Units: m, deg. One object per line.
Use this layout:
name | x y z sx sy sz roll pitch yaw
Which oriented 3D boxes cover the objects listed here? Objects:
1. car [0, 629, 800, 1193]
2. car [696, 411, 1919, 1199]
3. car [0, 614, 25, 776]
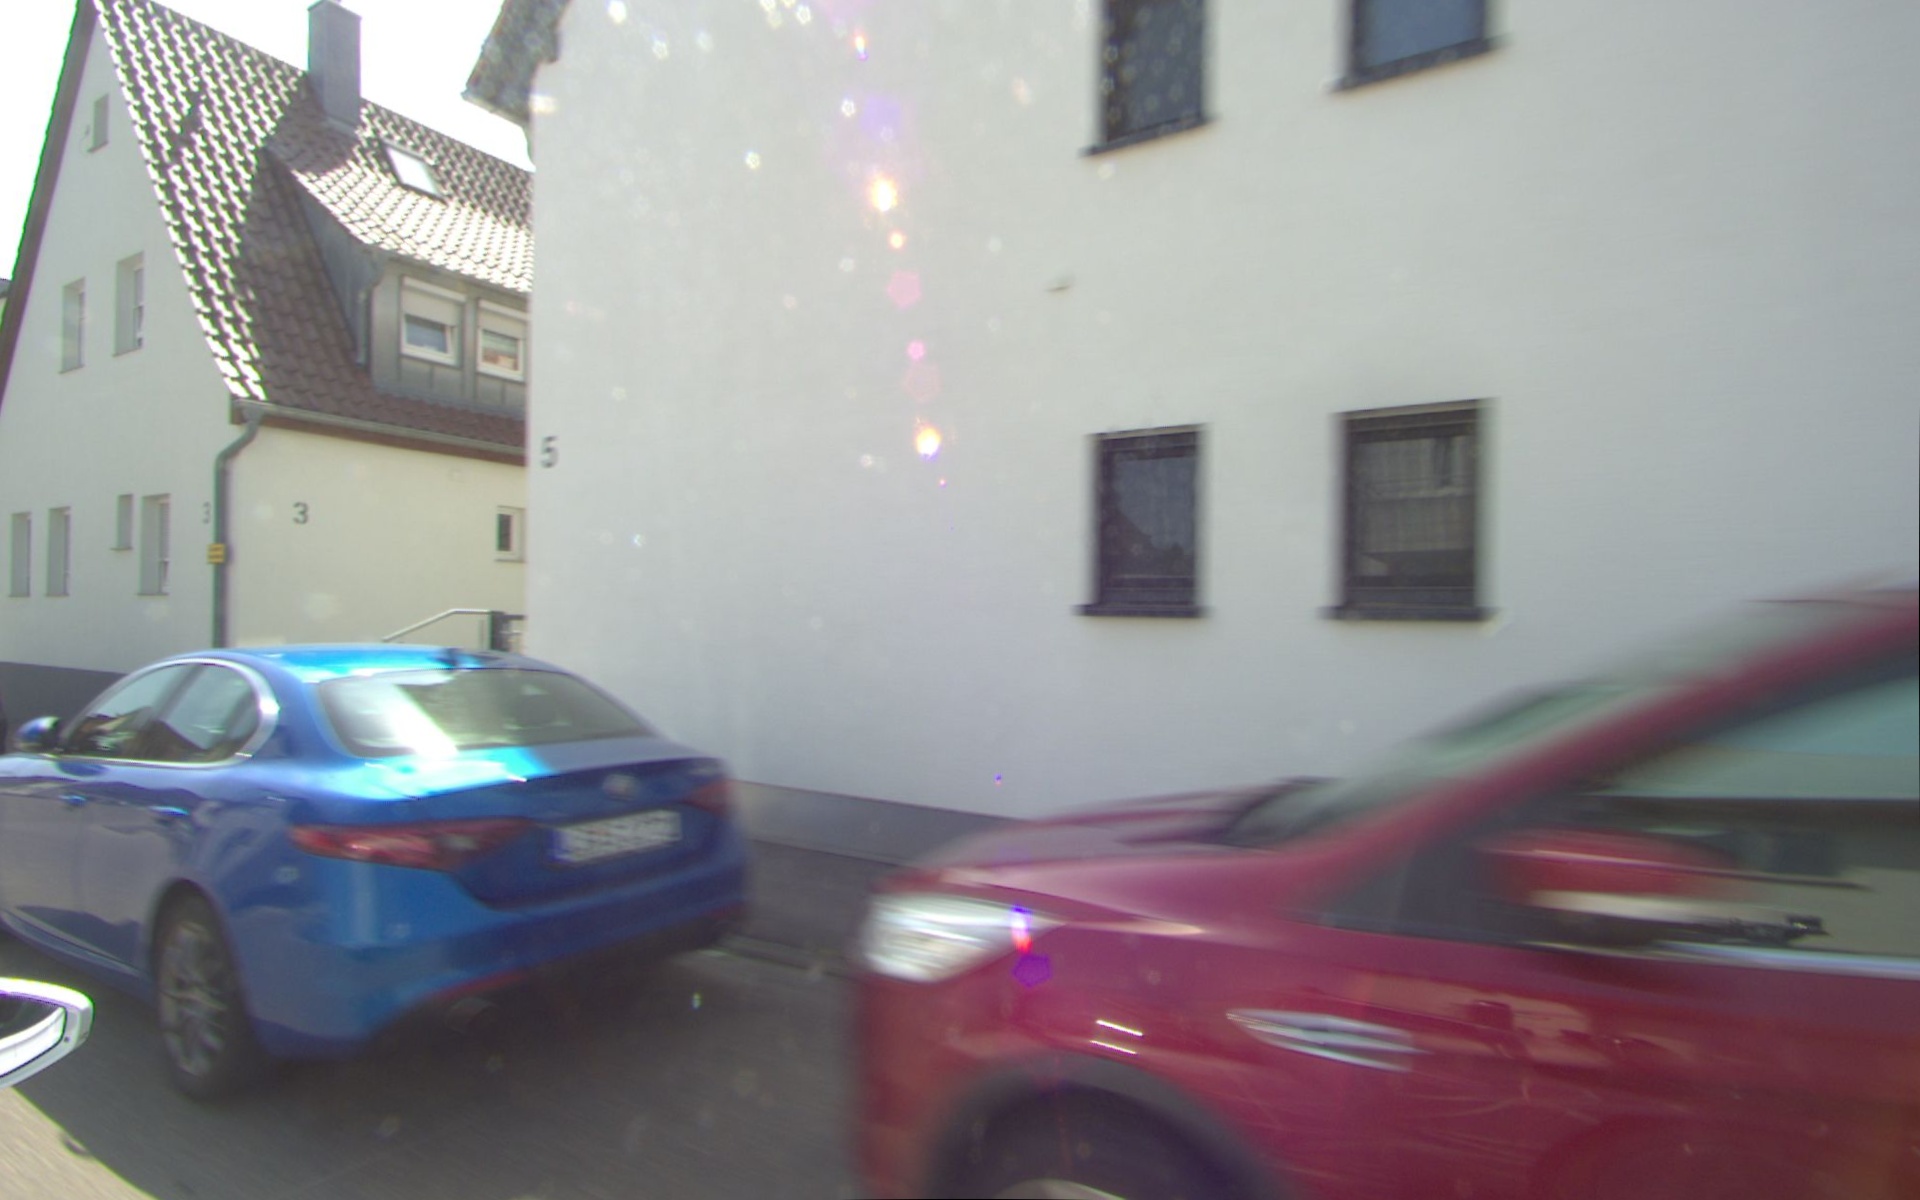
car | -3.026 0.879 4.612 4.528 1.442 1.760 -1 -2 34
car | 1.685 0.697 1.775 4.124 1.722 1.873 0 -3 33
car | -11.042 0.903 9.976 3.397 1.564 1.566 0 -2 30
